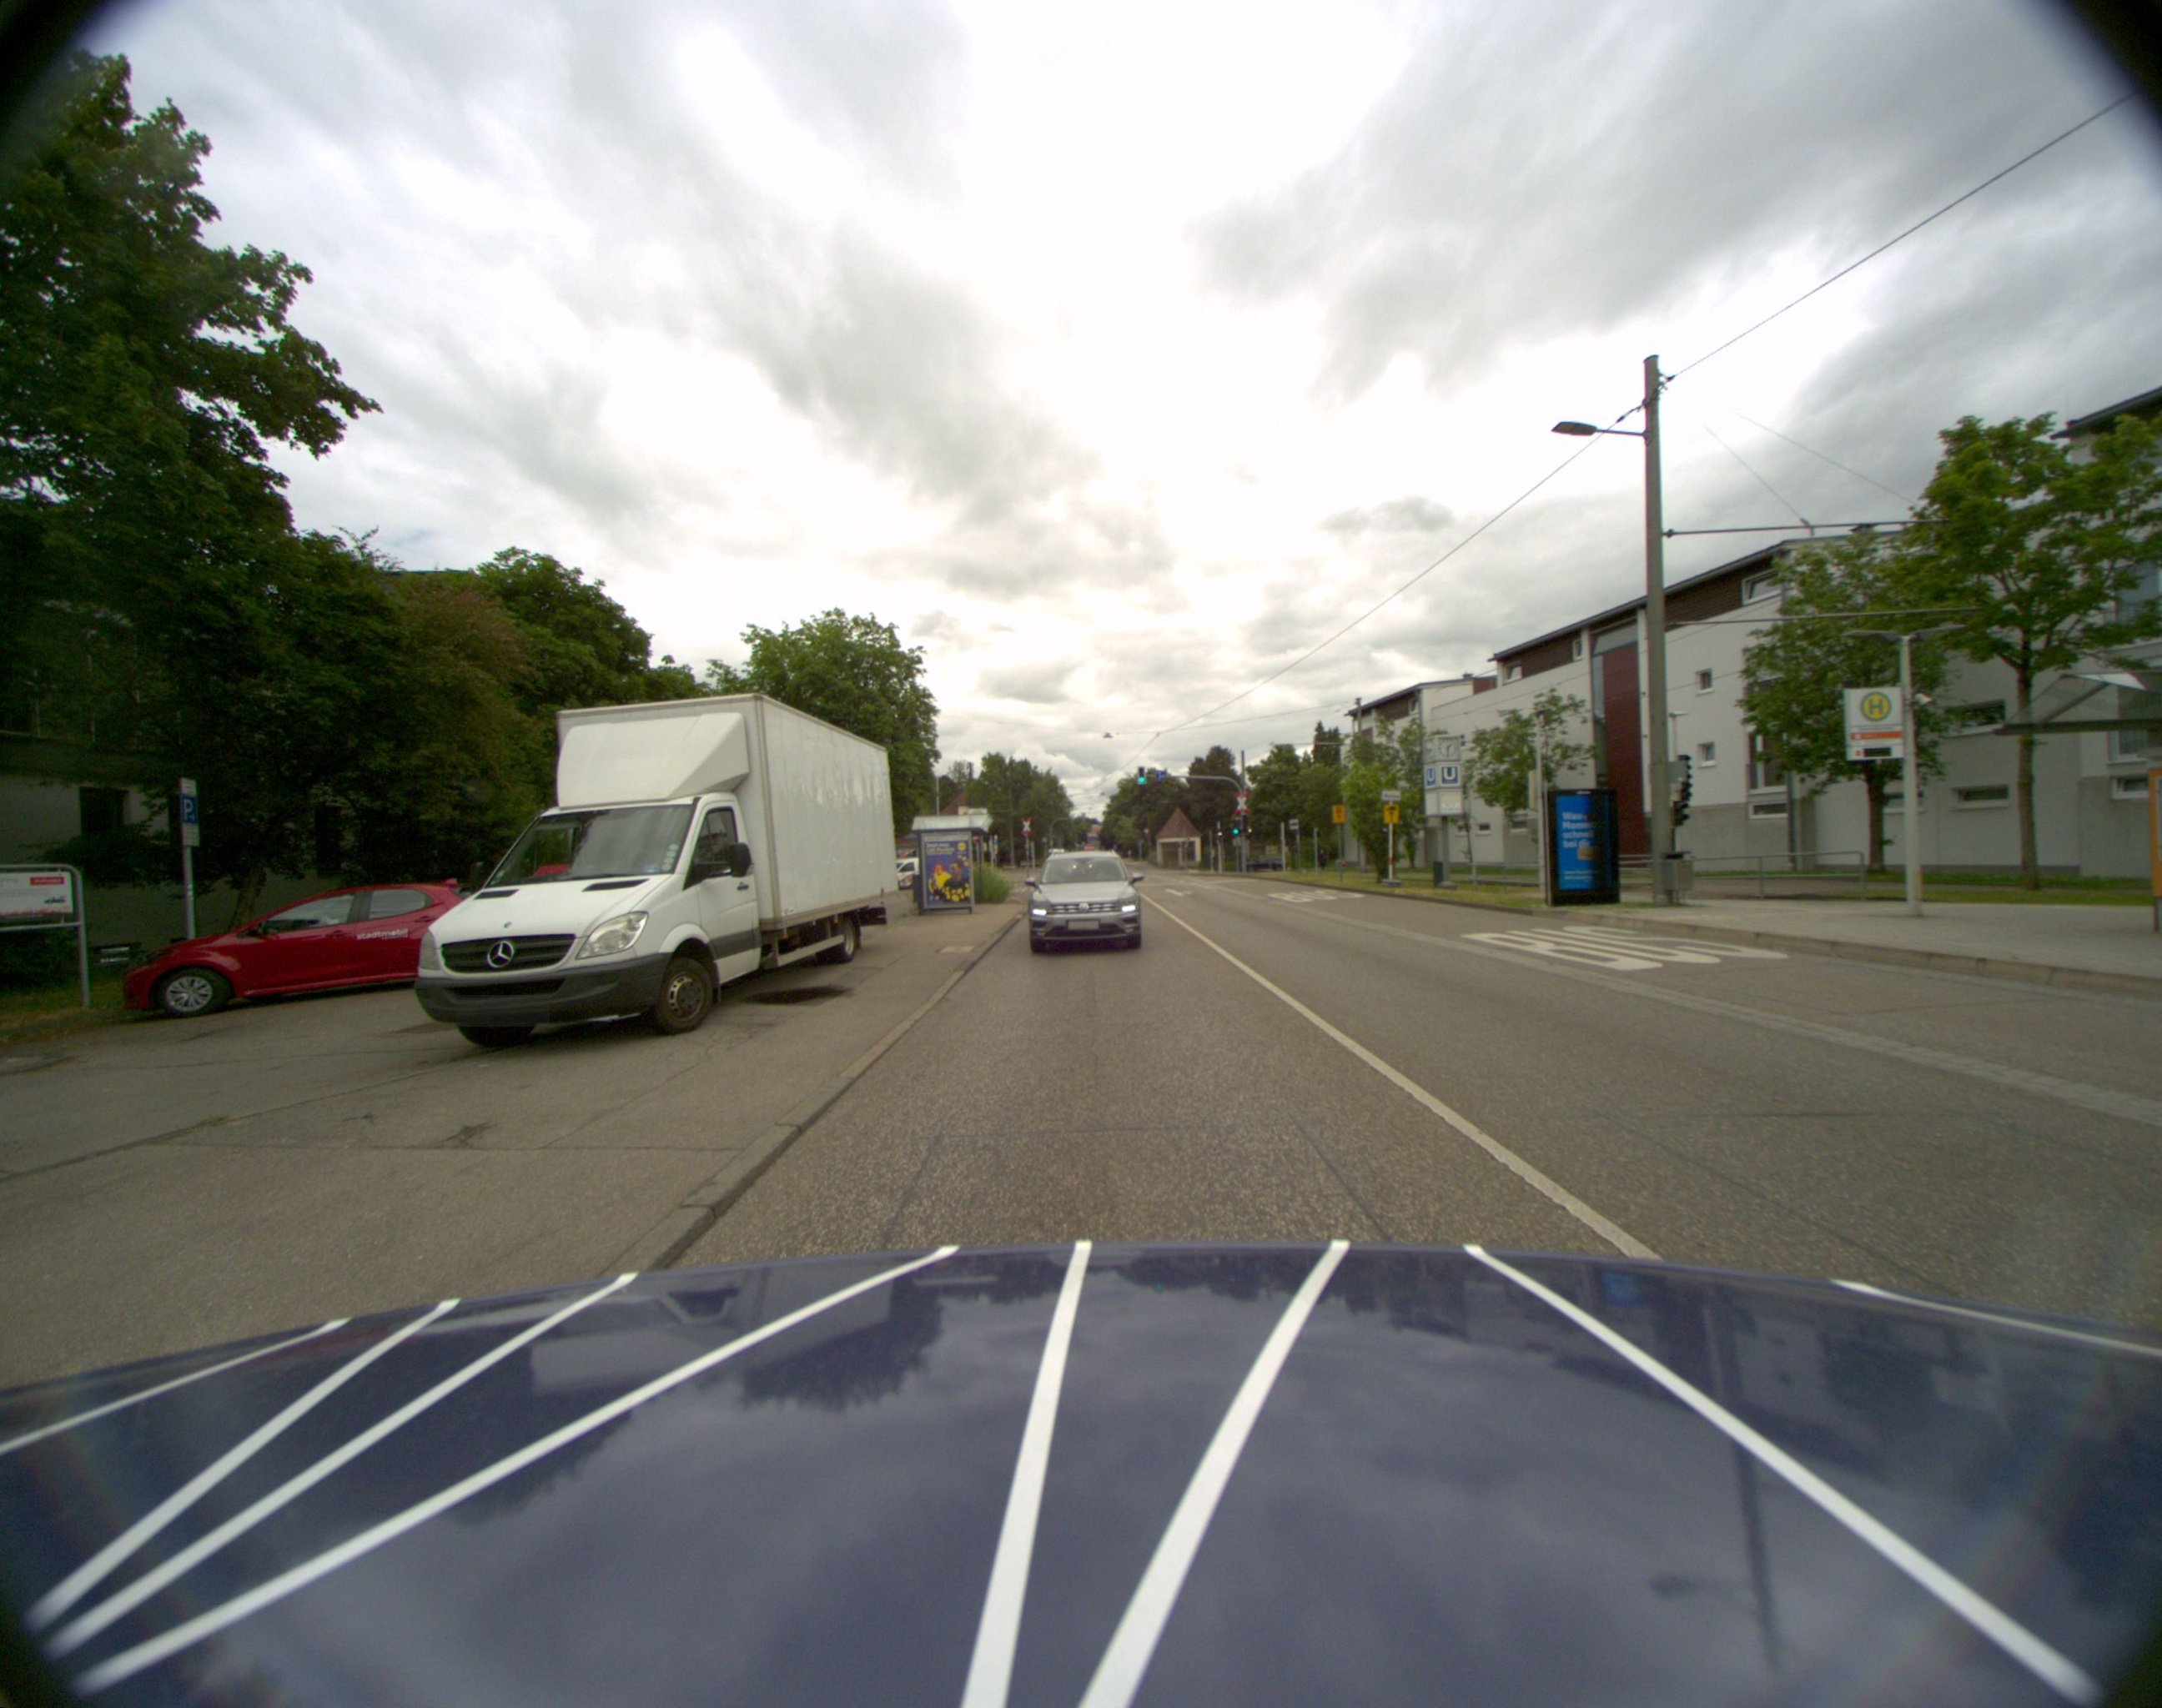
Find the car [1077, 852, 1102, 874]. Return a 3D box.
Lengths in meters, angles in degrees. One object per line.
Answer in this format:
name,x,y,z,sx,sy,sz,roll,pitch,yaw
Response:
car,0.713,0.732,63.762,1.811,1.736,3.999,-2,0,-2

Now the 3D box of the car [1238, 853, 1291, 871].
car,17.612,0.750,73.081,4.488,1.660,1.964,1,0,-7

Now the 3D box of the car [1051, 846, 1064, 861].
car,-4.152,-0.115,131.442,2.095,2.589,6.679,-2,1,-3

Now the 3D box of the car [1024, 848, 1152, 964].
car,-0.027,0.764,13.740,1.835,1.610,4.486,-4,1,-3

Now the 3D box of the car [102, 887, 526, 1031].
car,-10.126,1.301,10.460,3.734,1.437,1.605,-3,0,-26

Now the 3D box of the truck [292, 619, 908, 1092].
truck,-4.552,0.015,9.687,2.579,3.504,7.810,-2,0,1

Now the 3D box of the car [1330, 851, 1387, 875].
car,25.235,0.804,69.174,4.469,2.002,1.999,2,0,-6

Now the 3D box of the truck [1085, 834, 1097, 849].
truck,2.617,-3.208,195.175,2.776,3.697,8.466,0,1,-2

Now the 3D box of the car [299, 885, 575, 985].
car,-12.350,1.478,14.941,3.809,1.465,1.794,-3,1,-30

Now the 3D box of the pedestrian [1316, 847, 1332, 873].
pedestrian,15.644,0.369,48.868,0.677,1.634,0.819,-1,-1,-6

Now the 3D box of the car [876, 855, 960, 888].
car,-9.502,1.010,44.581,1.846,1.738,4.704,-2,0,38
